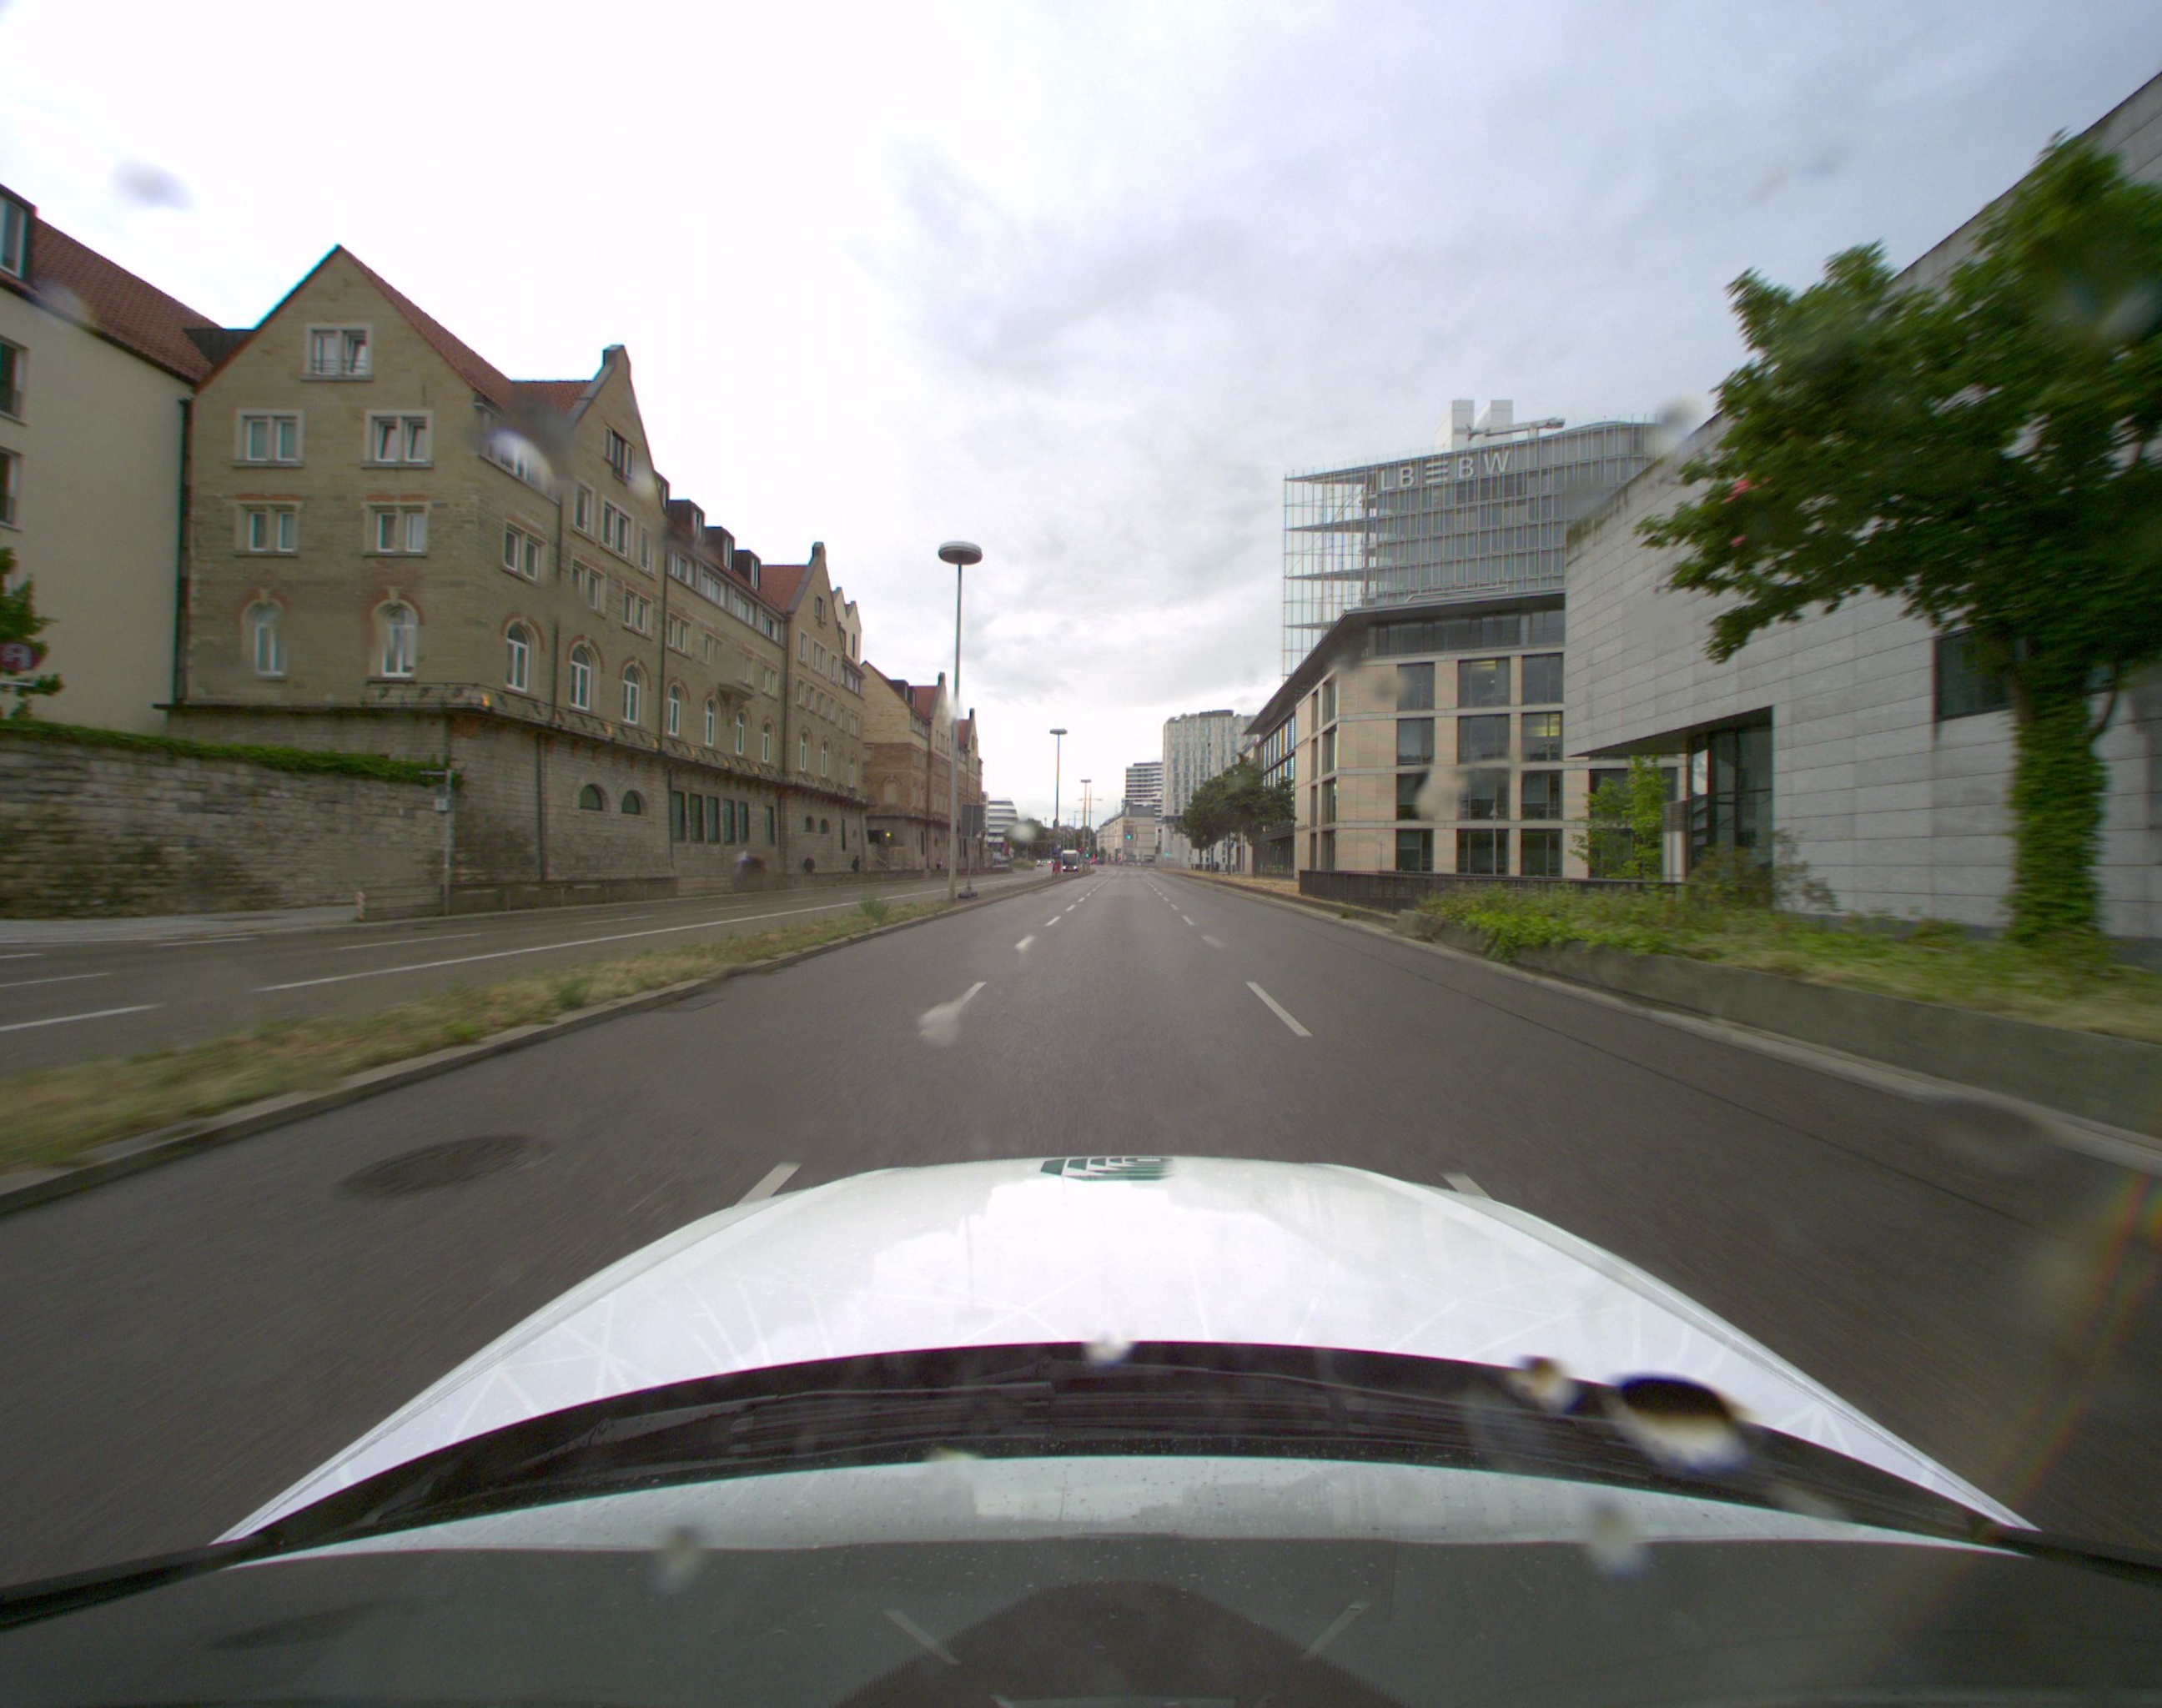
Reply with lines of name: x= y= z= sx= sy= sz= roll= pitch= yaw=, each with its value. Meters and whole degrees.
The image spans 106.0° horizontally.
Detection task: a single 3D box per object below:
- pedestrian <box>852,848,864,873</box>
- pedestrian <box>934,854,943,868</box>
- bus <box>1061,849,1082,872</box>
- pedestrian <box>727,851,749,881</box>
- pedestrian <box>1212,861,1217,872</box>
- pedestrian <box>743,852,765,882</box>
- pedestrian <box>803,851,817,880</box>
pedestrian: x=-15.997 y=0.469 z=58.428 sx=0.638 sy=1.745 sz=0.621 roll=-1 pitch=1 yaw=1
pedestrian: x=-14.742 y=0.722 z=84.266 sx=0.751 sy=1.477 sz=0.714 roll=-1 pitch=1 yaw=2
bus: x=-1.497 y=1.009 z=134.025 sx=2.687 sy=3.559 sz=10.100 roll=-1 pitch=0 yaw=3
pedestrian: x=-17.006 y=0.602 z=40.437 sx=0.751 sy=1.477 sz=0.714 roll=-1 pitch=1 yaw=2
pedestrian: x=19.102 y=1.745 z=116.556 sx=0.544 sy=1.578 sz=0.675 roll=0 pitch=1 yaw=37
pedestrian: x=-16.211 y=0.624 z=40.432 sx=0.751 sy=1.477 sz=0.714 roll=-1 pitch=1 yaw=2
pedestrian: x=-16.700 y=0.715 z=50.197 sx=0.638 sy=1.745 sz=0.621 roll=-1 pitch=1 yaw=1
